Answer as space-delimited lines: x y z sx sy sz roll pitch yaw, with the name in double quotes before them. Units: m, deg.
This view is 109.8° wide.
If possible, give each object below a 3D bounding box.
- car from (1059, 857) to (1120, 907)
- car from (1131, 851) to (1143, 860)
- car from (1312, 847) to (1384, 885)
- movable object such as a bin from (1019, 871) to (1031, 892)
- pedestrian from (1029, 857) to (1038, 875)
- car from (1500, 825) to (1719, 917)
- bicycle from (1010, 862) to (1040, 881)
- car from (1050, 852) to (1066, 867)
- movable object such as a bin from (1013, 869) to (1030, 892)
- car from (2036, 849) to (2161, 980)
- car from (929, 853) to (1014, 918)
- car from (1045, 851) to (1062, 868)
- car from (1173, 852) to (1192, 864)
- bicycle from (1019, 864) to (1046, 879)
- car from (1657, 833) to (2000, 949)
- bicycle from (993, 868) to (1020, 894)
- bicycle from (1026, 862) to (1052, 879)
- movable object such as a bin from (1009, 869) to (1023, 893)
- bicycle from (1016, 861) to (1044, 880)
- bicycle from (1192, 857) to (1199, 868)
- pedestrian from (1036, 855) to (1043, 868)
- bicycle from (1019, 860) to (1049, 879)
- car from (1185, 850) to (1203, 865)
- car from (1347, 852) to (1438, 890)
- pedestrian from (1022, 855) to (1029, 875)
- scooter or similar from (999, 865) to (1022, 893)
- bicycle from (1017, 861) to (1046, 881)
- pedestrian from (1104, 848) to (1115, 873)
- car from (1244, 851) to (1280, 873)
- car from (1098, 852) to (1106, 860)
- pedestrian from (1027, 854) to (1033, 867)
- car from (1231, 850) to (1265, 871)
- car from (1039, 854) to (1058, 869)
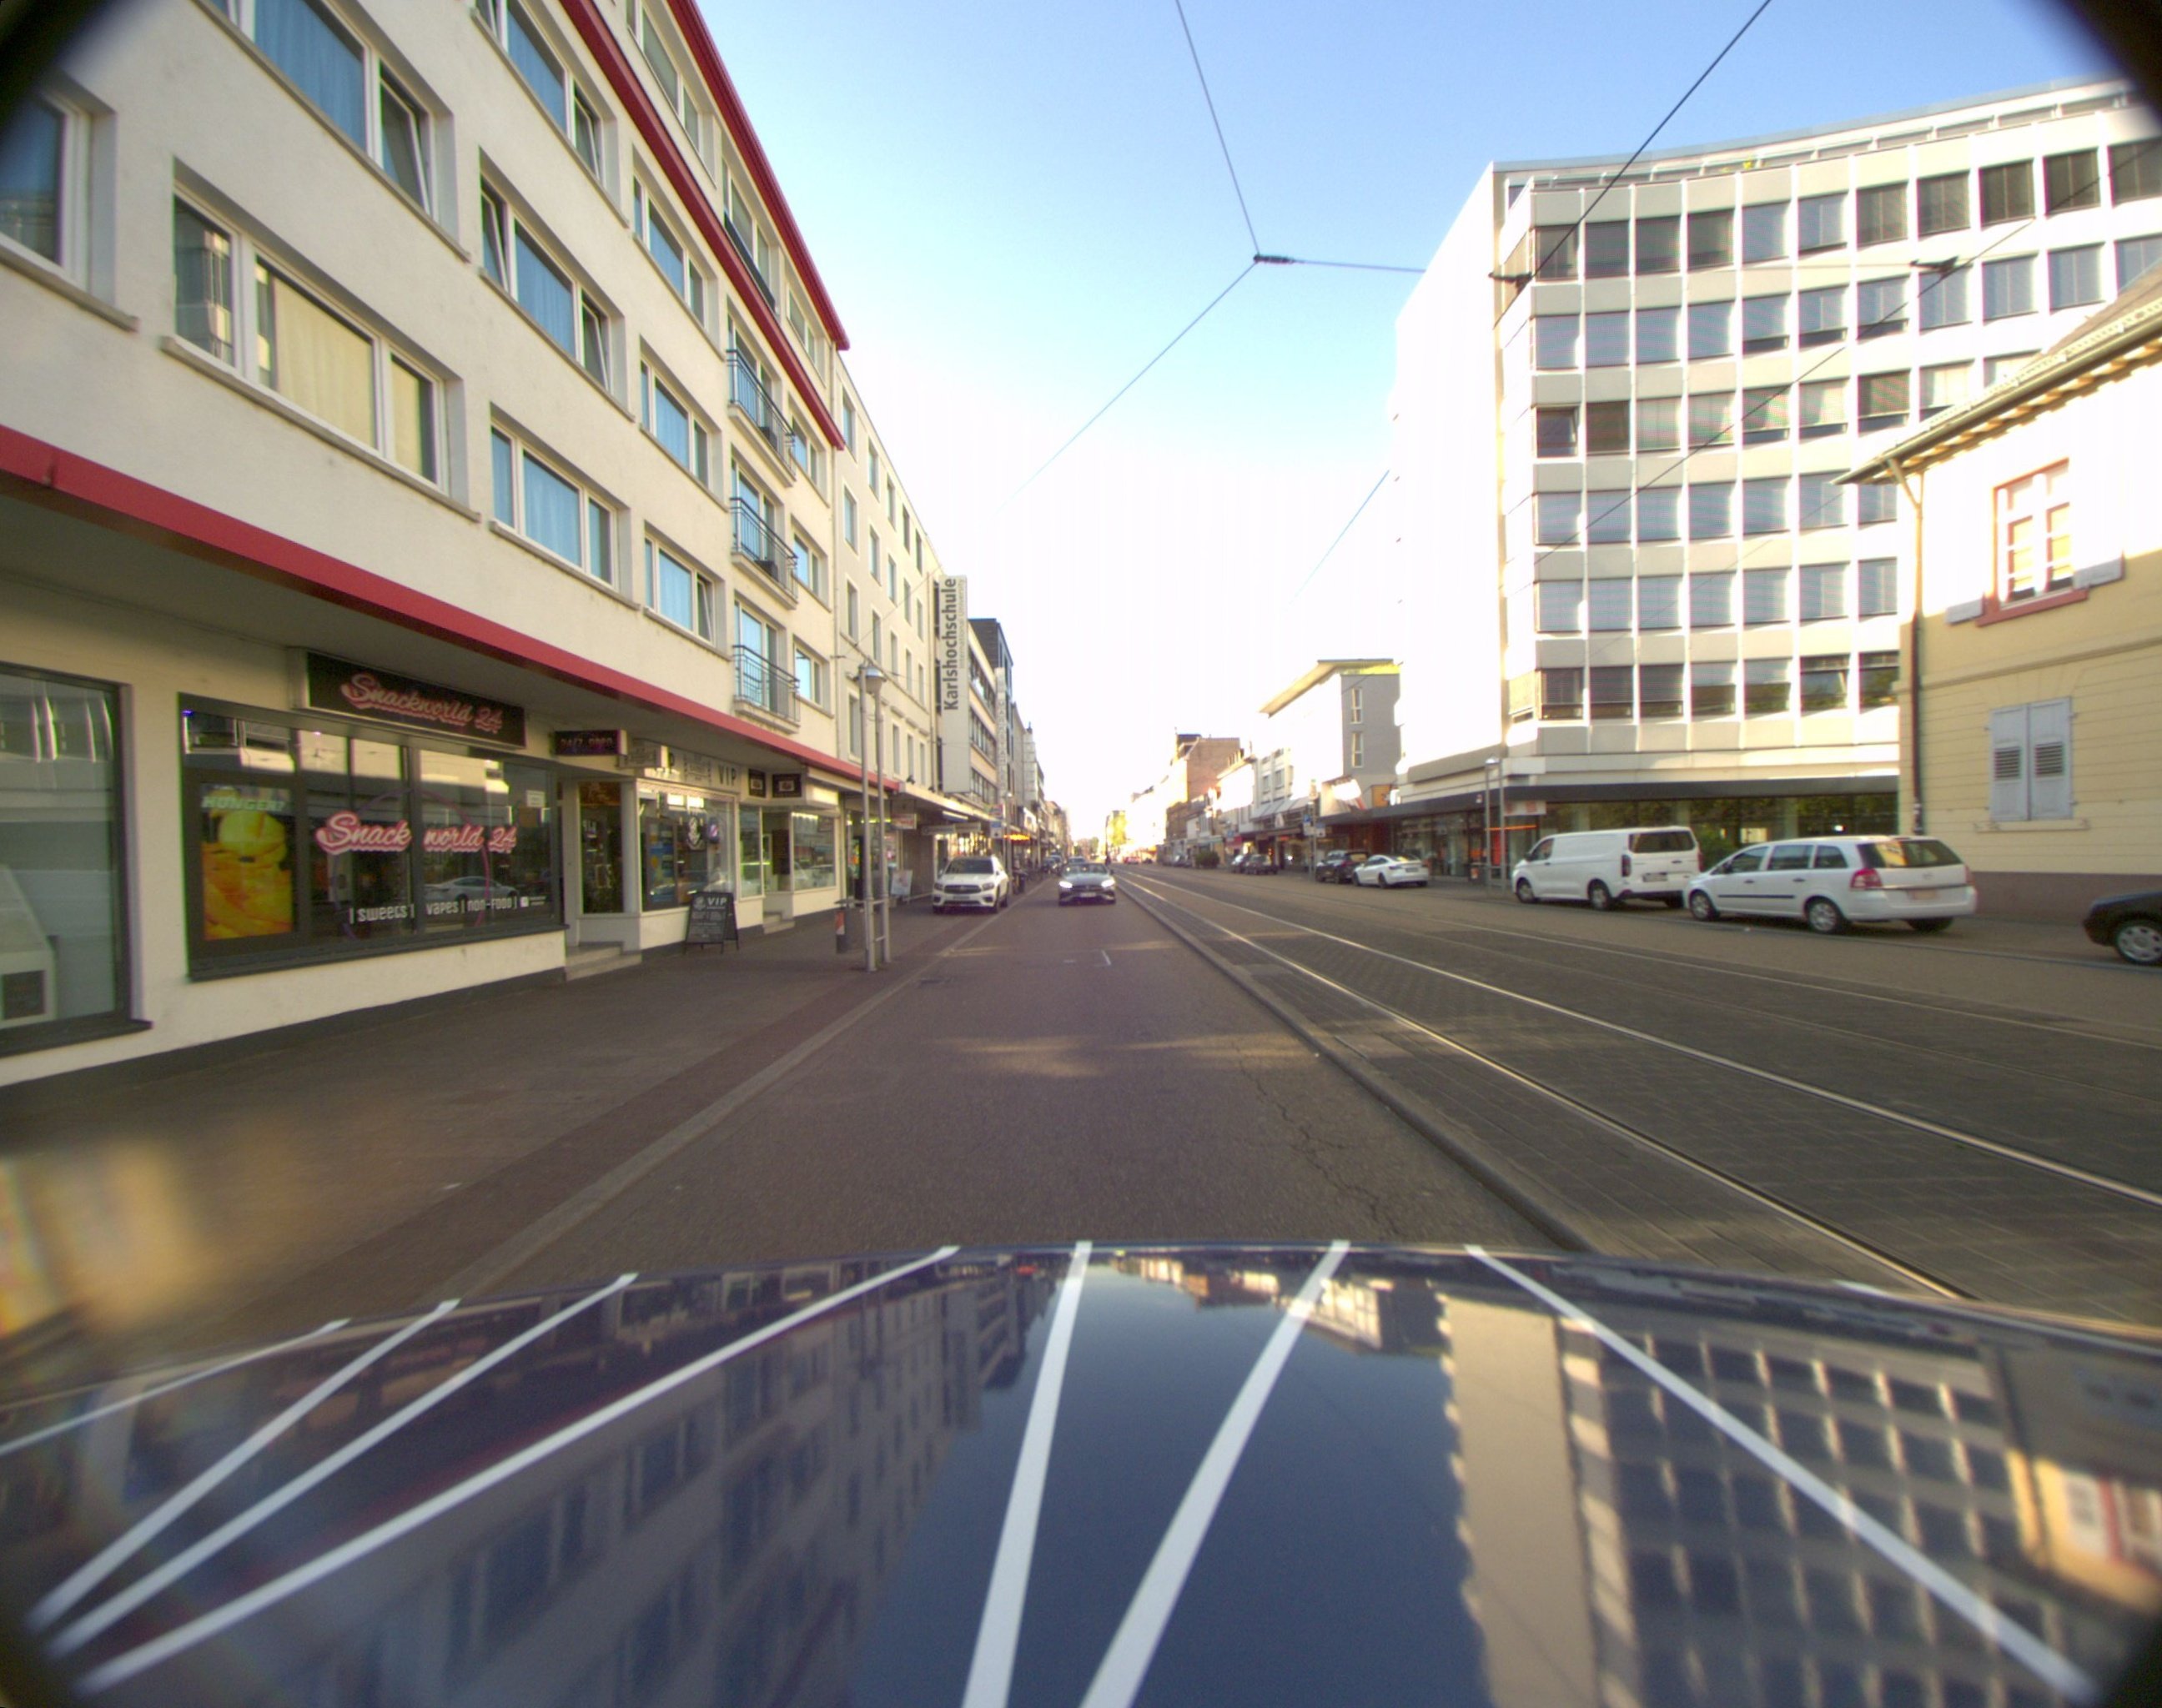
"car" 0.256 0.883 26.097 1.858 1.463 4.785 -1 1 0
"car" 10.374 0.245 141.145 1.802 1.625 3.675 -1 1 0
"car" 13.353 0.547 38.293 1.983 1.669 4.654 -3 1 1
"movable object such as a bin" -2.607 1.261 35.159 0.489 0.952 0.458 0 1 3
"pedestrian" -3.987 0.974 63.789 0.584 1.485 0.523 0 1 -36
"car" 13.274 0.361 19.607 1.999 1.964 5.096 -3 1 0
"bicycle" -3.438 1.058 46.860 1.792 1.153 0.669 -1 0 -1
"car" -3.125 0.655 101.651 2.052 1.899 4.877 -1 1 -3
"movable object such as a bin" -2.701 1.220 34.656 0.688 1.008 0.508 -1 1 3
"car" 13.062 0.700 7.869 1.618 1.392 3.719 -3 1 0
"car" -3.171 0.850 23.023 1.854 1.714 5.192 0 1 0
"car" -3.062 0.609 83.957 1.821 1.849 4.548 0 1 -3
"car" 13.372 0.502 100.350 1.822 1.505 4.762 -2 1 0
"bicycle" -3.227 1.158 50.462 1.778 1.026 0.597 -1 0 -1
"car" 13.195 0.539 13.953 1.812 1.676 4.649 -3 1 3
"bicycle" -3.216 1.170 32.793 1.134 1.073 0.320 0 1 -1
"bicycle" -2.875 1.157 52.219 1.778 1.124 0.478 -1 1 -5
"movable object such as a bin" -2.901 1.194 33.765 0.523 1.008 0.671 -1 1 3
"bicycle" -3.301 1.076 49.082 1.792 1.210 0.587 -1 1 -1
"bicycle" 12.624 0.910 83.735 0.519 1.084 1.716 -3 1 0
"pedestrian" -4.684 0.866 85.659 0.697 1.499 0.814 -1 1 0
"bicycle" -3.301 1.092 53.571 2.043 1.267 0.524 -1 1 -10
"car" 13.512 0.388 90.848 1.701 1.594 2.891 -3 1 0
"car" 13.370 0.677 32.974 1.893 1.413 4.655 -3 1 -1
"pedestrian" -4.645 0.910 63.403 0.583 1.576 0.597 1 1 -2
"scooter or similar" -3.079 1.084 33.140 0.995 1.224 0.320 0 1 -1
"bicycle" -3.144 1.059 48.302 1.792 1.210 0.669 -1 1 -1
"pedestrian" 2.128 0.477 56.555 0.806 1.827 0.746 0 1 -1
"car" 13.317 0.571 56.090 1.605 1.514 3.588 -4 1 -2
"car" 5.637 0.423 207.017 1.998 2.002 4.000 -3 1 1
"pedestrian" -5.862 0.758 87.362 0.577 1.431 0.731 0 1 0
"car" 13.598 0.510 62.150 1.741 1.514 4.851 -4 1 1
"car" -3.250 0.752 77.621 1.726 1.476 4.415 1 1 0
